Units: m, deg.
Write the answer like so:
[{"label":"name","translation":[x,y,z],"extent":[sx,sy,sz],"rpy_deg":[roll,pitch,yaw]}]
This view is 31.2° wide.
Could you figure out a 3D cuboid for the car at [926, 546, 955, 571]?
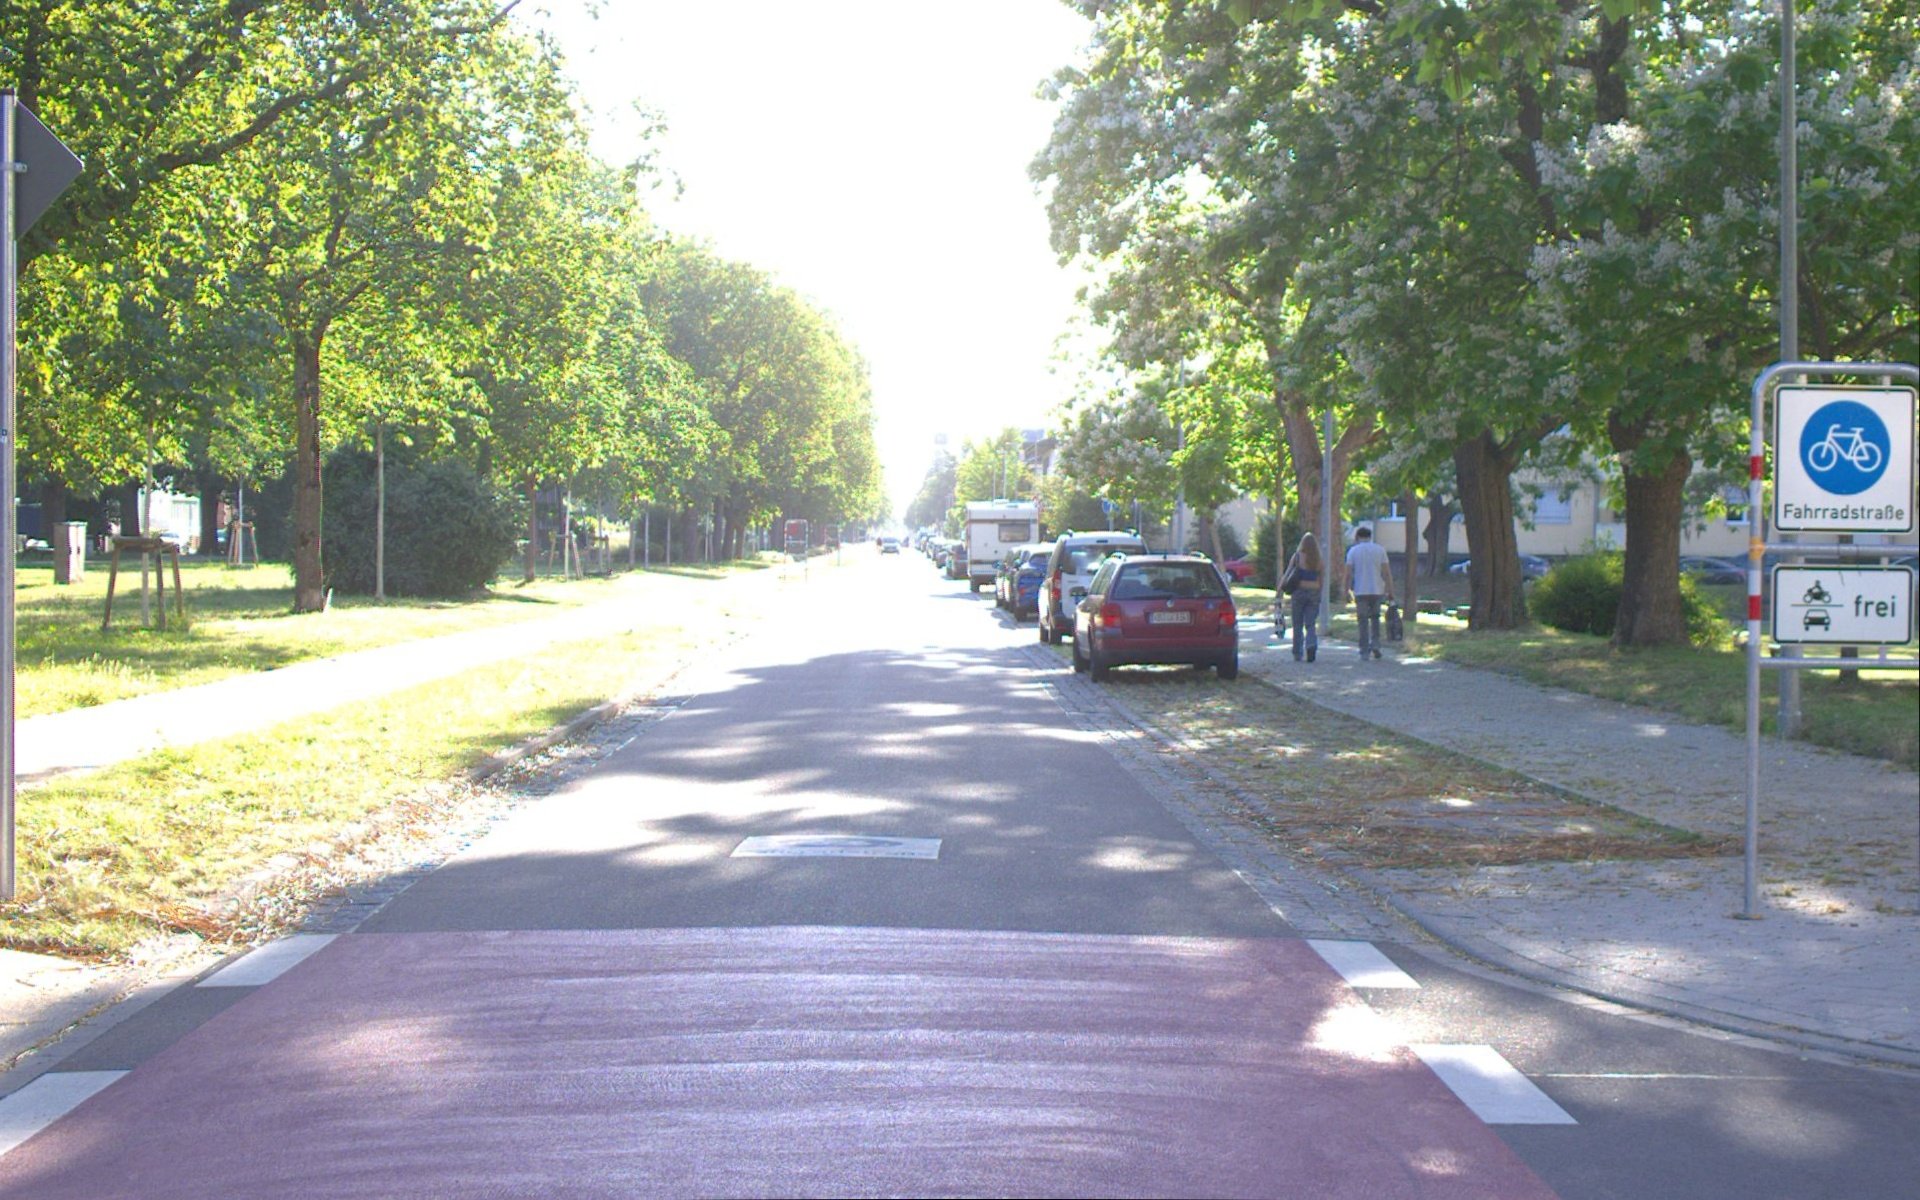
[{"label":"car","translation":[-1.156,-2.459,203.432],"extent":[1.626,1.405,4.249],"rpy_deg":[0,1,-1]}]

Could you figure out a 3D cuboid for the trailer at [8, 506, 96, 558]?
[{"label":"trailer","translation":[-44.703,-3.334,169.403],"extent":[2.459,2.480,7.050],"rpy_deg":[0,1,0]}]

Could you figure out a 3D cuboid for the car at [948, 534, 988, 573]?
[{"label":"car","translation":[0.335,-2.024,149.646],"extent":[1.626,1.663,4.249],"rpy_deg":[0,1,-1]}]

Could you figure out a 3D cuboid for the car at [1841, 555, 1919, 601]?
[{"label":"car","translation":[32.385,-0.755,117.868],"extent":[3.993,1.547,1.608],"rpy_deg":[1,1,27]}]

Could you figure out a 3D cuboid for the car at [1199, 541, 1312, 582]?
[{"label":"car","translation":[11.174,-1.455,130.305],"extent":[4.195,1.525,2.000],"rpy_deg":[1,1,4]}]

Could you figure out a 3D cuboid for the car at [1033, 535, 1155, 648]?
[{"label":"car","translation":[2.127,-0.163,55.395],"extent":[1.678,1.734,4.514],"rpy_deg":[0,1,-1]}]

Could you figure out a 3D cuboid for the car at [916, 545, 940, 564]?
[{"label":"car","translation":[-2.341,-3.315,251.122],"extent":[1.626,1.405,4.249],"rpy_deg":[0,1,-1]}]

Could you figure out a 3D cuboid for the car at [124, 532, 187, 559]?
[{"label":"car","translation":[-46.765,-3.177,199.995],"extent":[2.507,1.503,4.913],"rpy_deg":[0,1,0]}]

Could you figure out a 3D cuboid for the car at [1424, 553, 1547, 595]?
[{"label":"car","translation":[18.800,-0.937,122.910],"extent":[4.198,1.458,1.692],"rpy_deg":[1,1,15]}]

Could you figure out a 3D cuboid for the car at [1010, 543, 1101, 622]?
[{"label":"car","translation":[1.939,-0.373,70.815],"extent":[1.732,1.545,4.276],"rpy_deg":[0,1,0]}]

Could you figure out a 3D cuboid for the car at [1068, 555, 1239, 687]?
[{"label":"car","translation":[2.279,0.214,41.545],"extent":[1.678,1.481,4.810],"rpy_deg":[0,1,-1]}]

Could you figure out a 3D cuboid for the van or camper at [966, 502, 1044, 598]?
[{"label":"van or camper","translation":[1.389,-1.528,108.330],"extent":[2.234,2.894,5.673],"rpy_deg":[0,0,-1]}]

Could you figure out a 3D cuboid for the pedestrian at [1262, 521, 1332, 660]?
[{"label":"pedestrian","translation":[4.262,-0.124,43.507],"extent":[0.753,1.730,0.732],"rpy_deg":[2,1,0]}]

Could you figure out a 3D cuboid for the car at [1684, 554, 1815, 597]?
[{"label":"car","translation":[29.013,-0.905,126.335],"extent":[4.515,1.564,1.879],"rpy_deg":[1,1,18]}]

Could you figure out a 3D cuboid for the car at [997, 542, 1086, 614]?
[{"label":"car","translation":[1.802,-0.505,77.066],"extent":[1.731,1.545,4.423],"rpy_deg":[0,1,-2]}]

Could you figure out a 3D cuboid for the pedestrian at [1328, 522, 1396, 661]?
[{"label":"pedestrian","translation":[5.095,-0.120,43.610],"extent":[0.725,1.730,0.732],"rpy_deg":[2,1,0]}]
